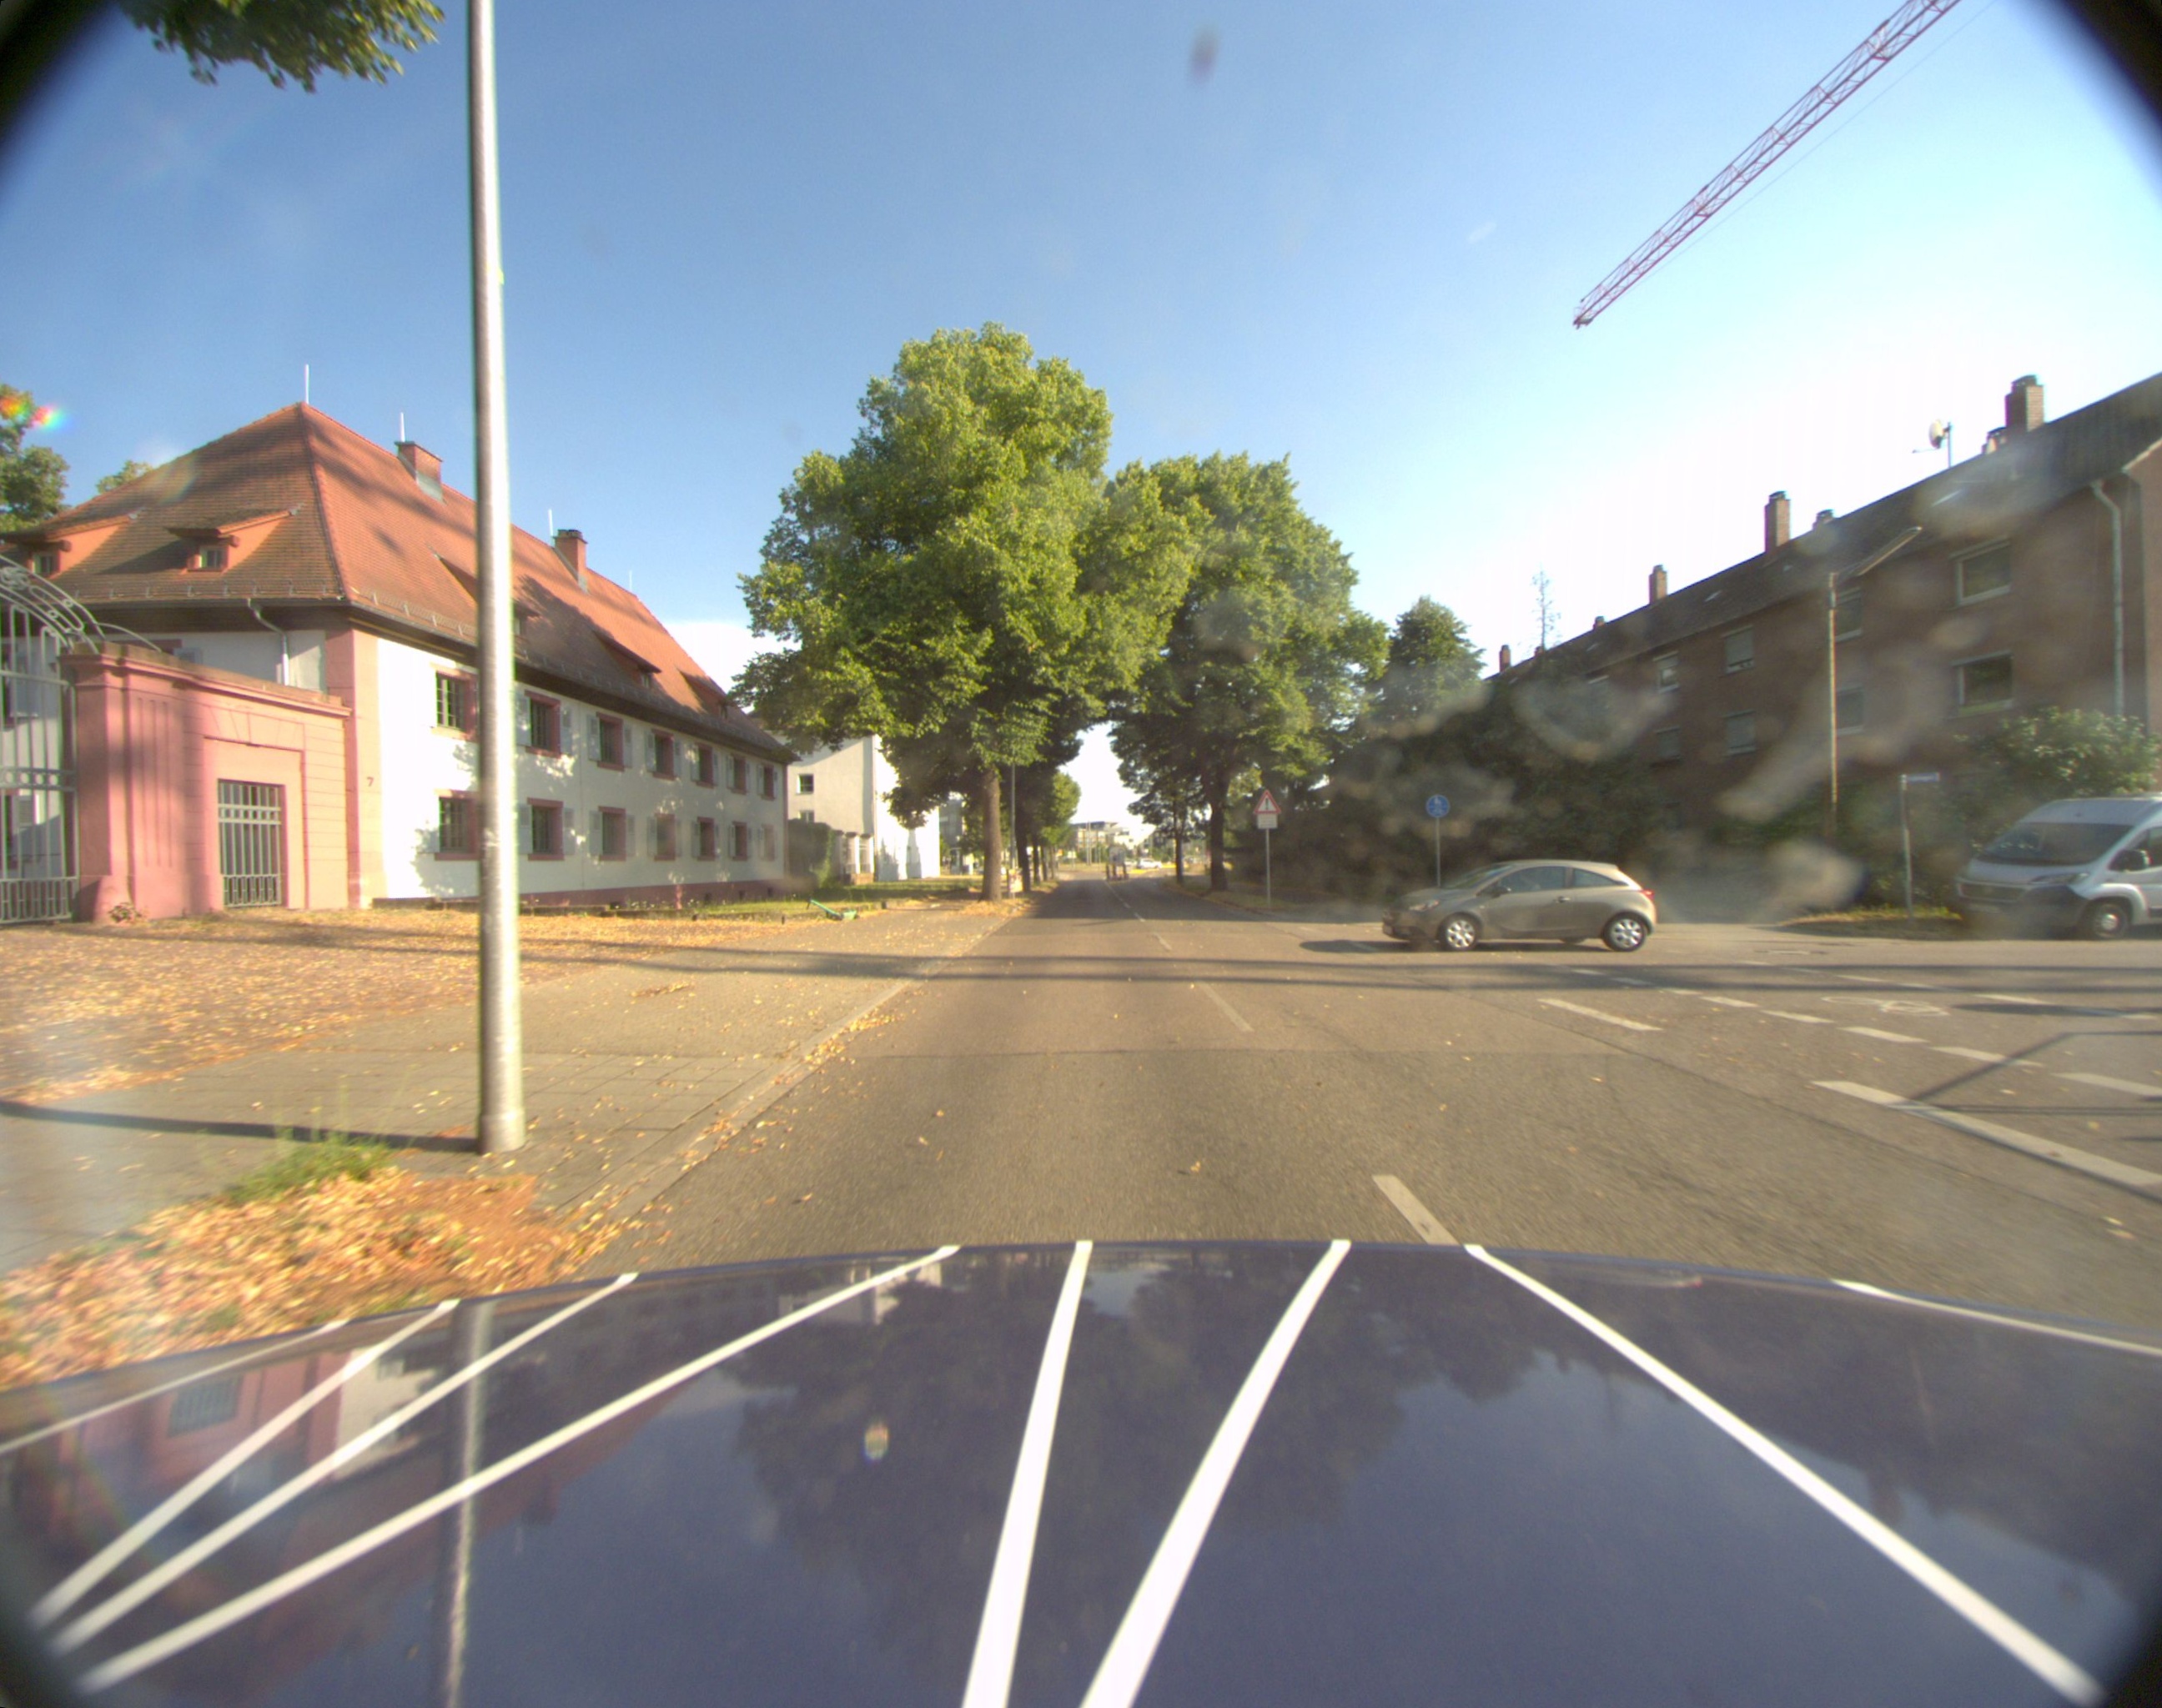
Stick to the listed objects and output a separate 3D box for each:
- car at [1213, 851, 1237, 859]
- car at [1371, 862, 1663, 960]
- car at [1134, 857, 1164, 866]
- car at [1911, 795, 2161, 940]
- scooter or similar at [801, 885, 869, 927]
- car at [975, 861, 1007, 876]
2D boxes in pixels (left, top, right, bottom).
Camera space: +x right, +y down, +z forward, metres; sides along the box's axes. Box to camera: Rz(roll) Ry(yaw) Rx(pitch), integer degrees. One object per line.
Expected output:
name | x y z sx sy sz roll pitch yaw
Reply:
car | 26.039 0.199 137.227 4.004 1.521 1.775 0 0 -22
car | 7.032 0.901 12.587 3.852 1.465 1.652 -1 0 6
car | 11.034 1.256 123.496 4.589 1.376 2.093 -1 0 -9
car | 19.112 0.161 13.798 5.319 2.455 2.168 0 4 3
scooter or similar | -6.185 1.287 19.177 1.227 0.545 1.064 22 3 4
car | -11.522 1.879 97.613 3.620 1.412 1.767 -8 -5 11
